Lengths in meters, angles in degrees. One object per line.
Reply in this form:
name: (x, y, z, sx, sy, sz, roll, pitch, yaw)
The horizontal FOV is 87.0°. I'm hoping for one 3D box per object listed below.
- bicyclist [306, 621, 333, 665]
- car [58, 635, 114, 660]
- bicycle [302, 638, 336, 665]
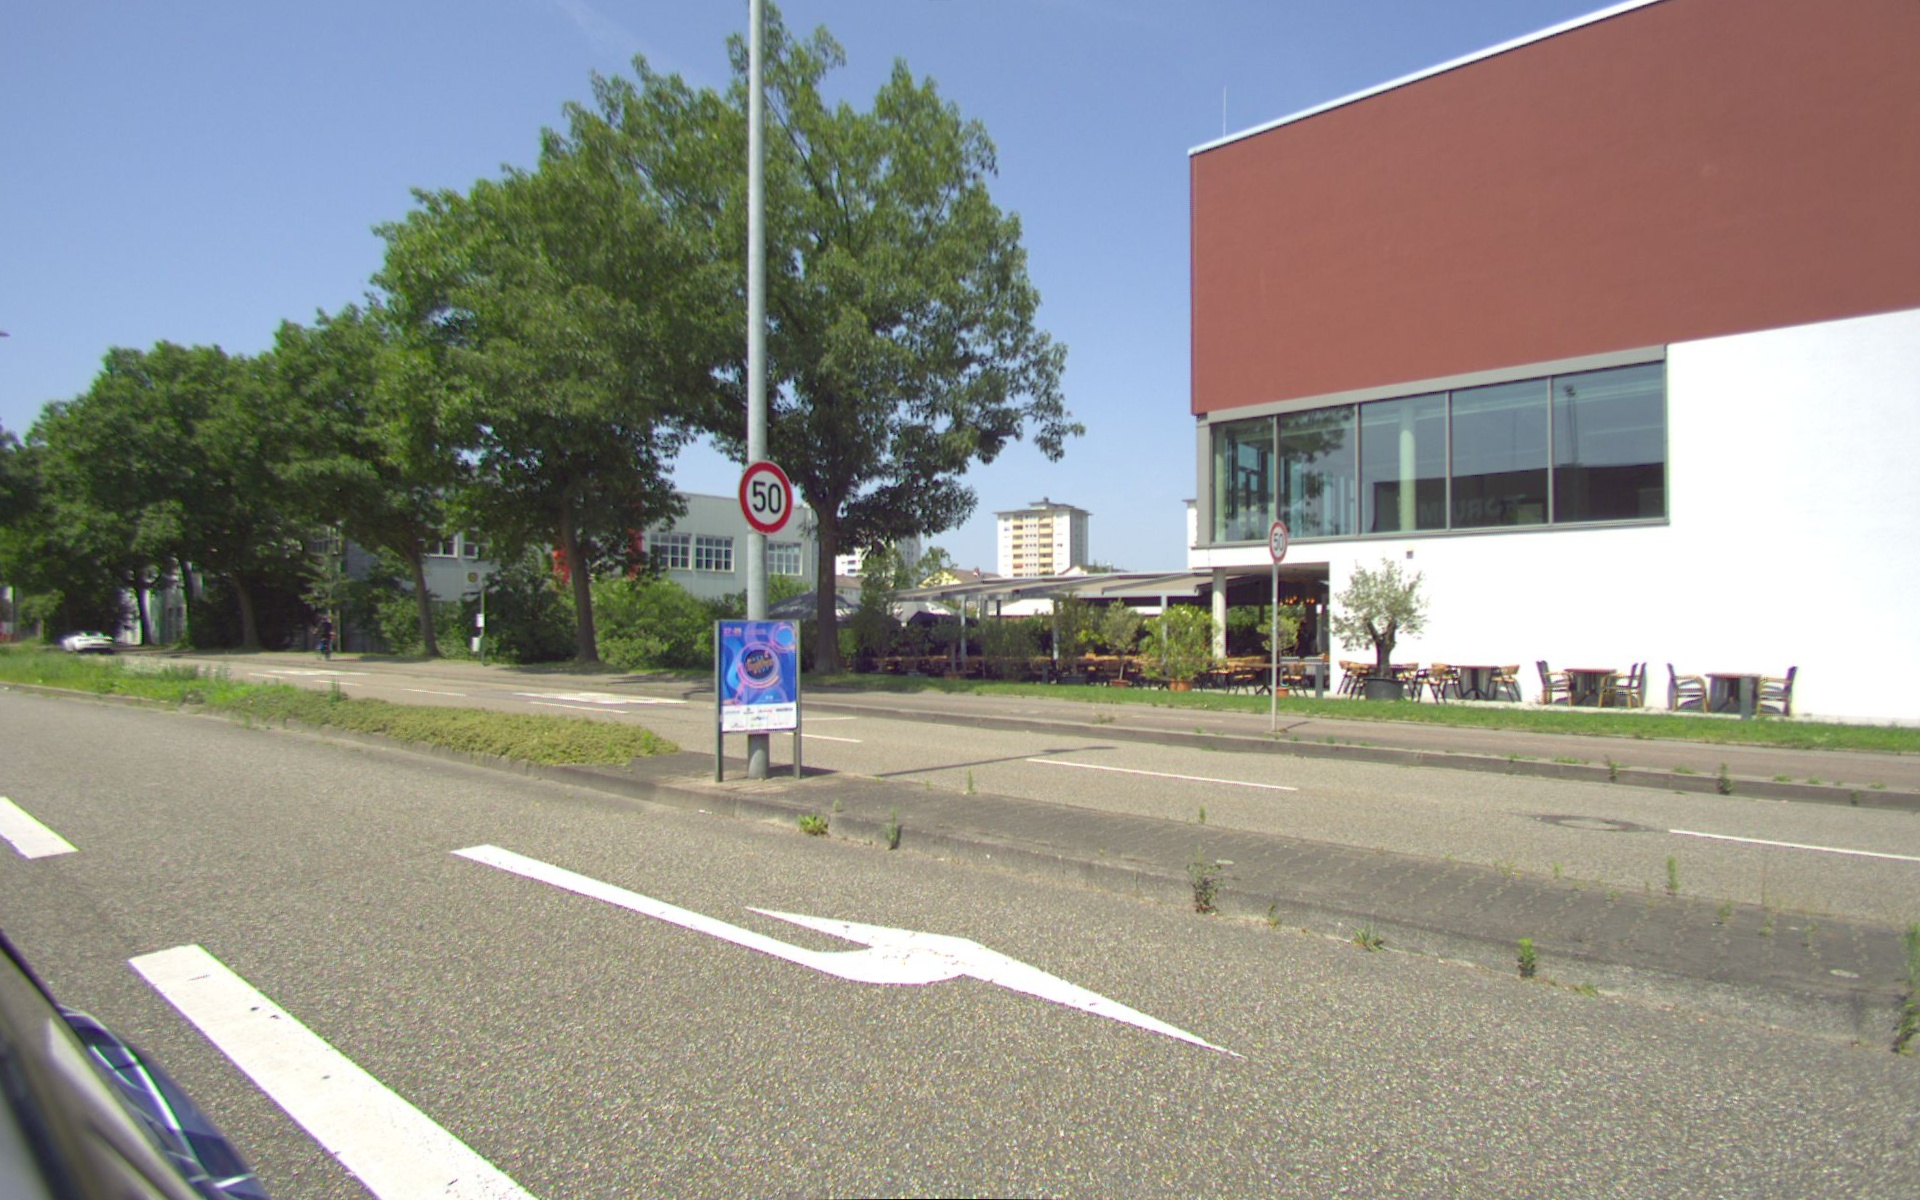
bicyclist: (-26.126, 1.745, 41.278, 0.927, 1.783, 0.643, -1, -2, 41)
car: (-49.183, 2.653, 56.916, 4.298, 1.272, 1.700, -1, -4, 40)
bicycle: (-26.127, 2.107, 41.268, 1.883, 1.059, 0.648, -1, -2, 41)
